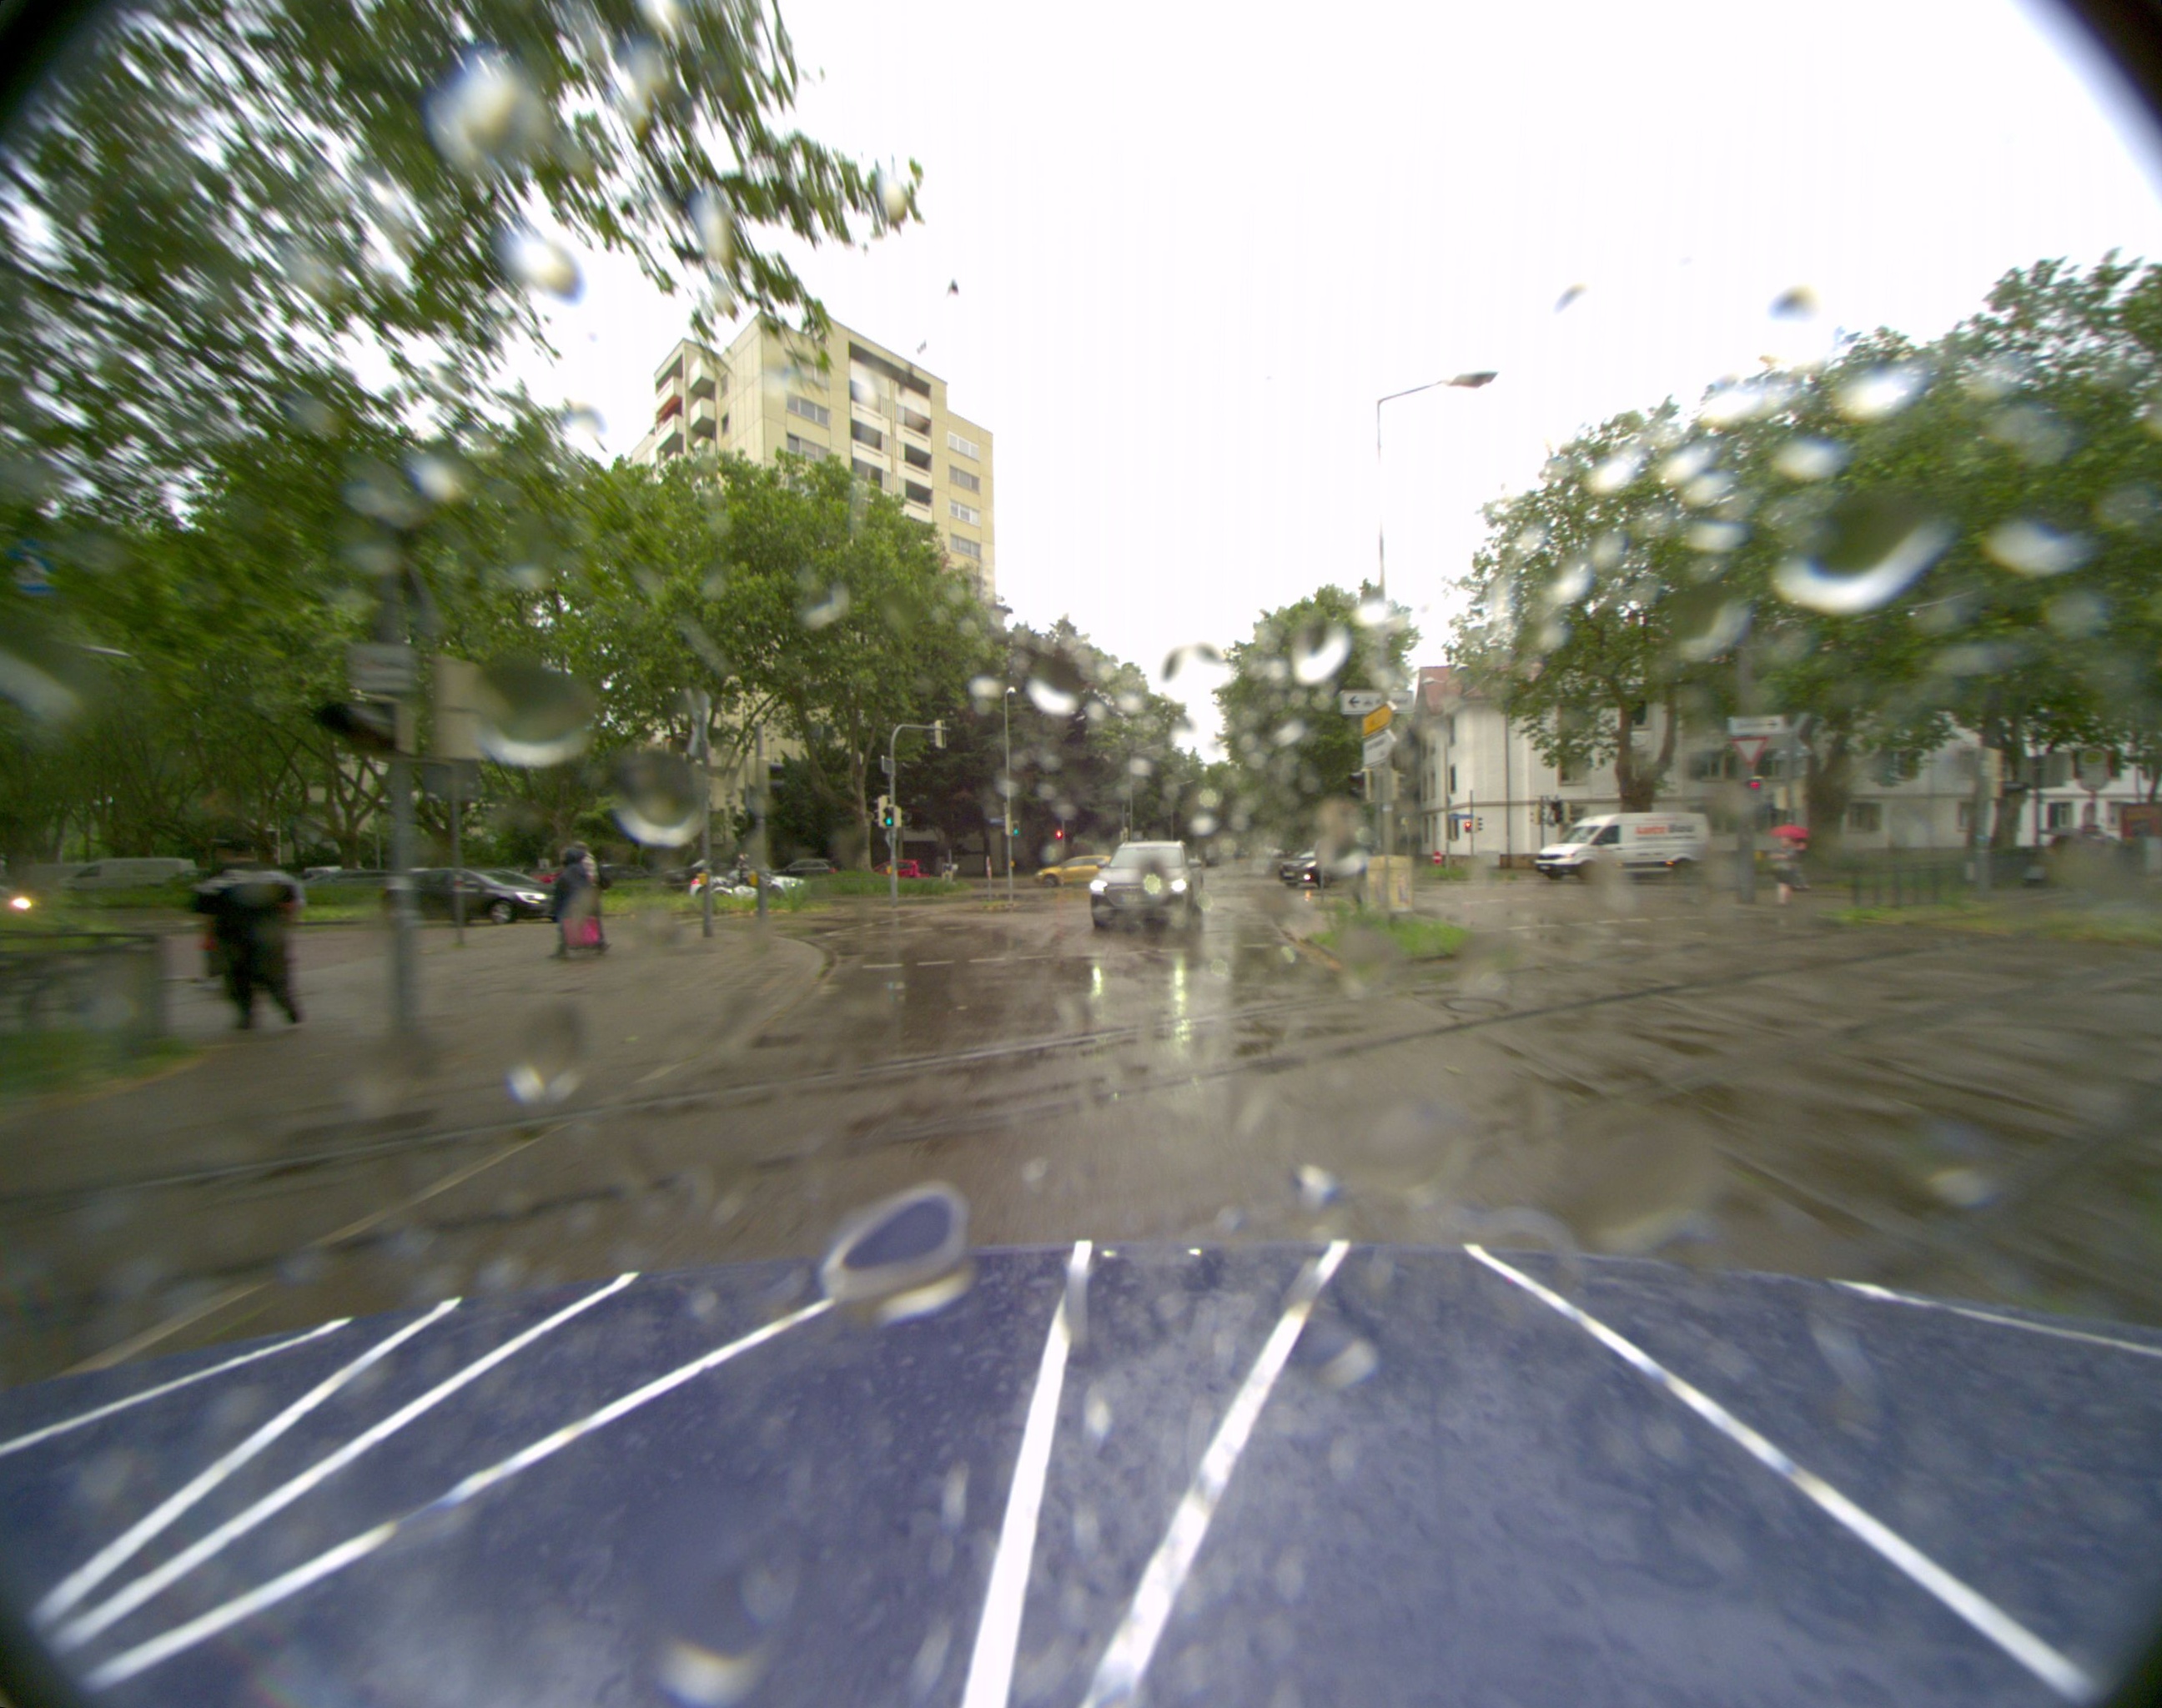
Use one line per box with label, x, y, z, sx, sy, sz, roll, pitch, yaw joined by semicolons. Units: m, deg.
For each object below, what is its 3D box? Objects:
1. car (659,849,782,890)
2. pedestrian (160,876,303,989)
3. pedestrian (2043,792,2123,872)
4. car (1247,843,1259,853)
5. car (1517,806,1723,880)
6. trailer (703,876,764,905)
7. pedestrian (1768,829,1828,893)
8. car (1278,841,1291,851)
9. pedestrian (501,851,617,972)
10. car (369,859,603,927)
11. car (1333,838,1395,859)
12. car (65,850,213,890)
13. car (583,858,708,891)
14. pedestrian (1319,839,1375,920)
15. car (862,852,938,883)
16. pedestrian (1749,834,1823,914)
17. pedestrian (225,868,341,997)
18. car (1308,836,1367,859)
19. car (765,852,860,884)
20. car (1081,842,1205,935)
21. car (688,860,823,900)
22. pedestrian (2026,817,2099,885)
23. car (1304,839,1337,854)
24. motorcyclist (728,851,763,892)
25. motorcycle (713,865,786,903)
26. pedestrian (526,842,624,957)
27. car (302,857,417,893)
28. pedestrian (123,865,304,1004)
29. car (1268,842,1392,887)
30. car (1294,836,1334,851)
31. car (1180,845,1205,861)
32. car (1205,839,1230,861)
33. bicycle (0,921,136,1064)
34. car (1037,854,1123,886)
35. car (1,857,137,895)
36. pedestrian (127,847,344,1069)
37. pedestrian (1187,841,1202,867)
car;-16.095;0.666;34.183;1.870;1.654;4.612;-1;1;36
pedestrian;-10.961;0.985;9.840;1.010;1.373;0.673;-1;1;-8
pedestrian;23.504;-0.501;17.832;0.849;1.821;0.859;0;1;-16
car;32.562;-1.075;144.160;1.997;1.796;4.353;-2;0;10
car;20.649;-0.436;29.245;6.509;2.547;2.283;-2;1;-5
trailer;-11.301;1.183;24.744;1.480;0.837;1.028;-2;1;8
pedestrian;19.389;0.188;20.571;0.861;1.678;0.848;-1;1;-14
car;38.374;-1.531;143.454;1.997;1.796;4.002;-2;0;9
pedestrian;-7.726;0.803;11.277;1.053;1.677;0.998;0;1;25
car;-14.378;0.921;18.525;4.173;1.452;1.995;-1;0;4
car;20.932;-0.418;56.263;3.994;1.346;1.798;-2;0;10
car;-61.862;1.005;50.086;5.613;2.387;2.229;-2;1;-28
car;-22.549;1.063;39.436;5.522;1.509;2.260;-2;1;13
pedestrian;5.243;0.491;15.005;0.863;1.572;0.642;-1;1;-4
car;-9.696;0.702;40.806;3.456;1.516;1.843;-2;1;9
pedestrian;15.354;0.422;16.557;0.849;1.678;0.859;-1;1;-16
pedestrian;-10.095;0.956;9.645;0.762;1.539;0.691;-1;1;-21
car;22.059;-0.574;65.452;4.663;1.863;2.035;0;1;14
car;-14.681;0.758;41.636;4.448;1.598;1.942;-2;1;12
car;1.405;0.583;15.436;1.807;1.612;4.141;-1;1;14
car;-12.104;0.942;28.414;4.168;1.268;1.903;-2;1;2
pedestrian;24.638;-0.083;19.090;0.849;1.678;0.859;-1;1;-16
car;29.299;-0.920;93.118;3.716;1.681;1.940;0;1;14
motorcyclist;-11.352;0.570;25.707;0.754;1.343;0.758;-2;1;7
motorcycle;-11.200;1.000;25.702;2.072;1.208;0.881;-2;1;7
pedestrian;-8.136;0.708;12.244;0.992;1.771;0.813;0;1;14
car;-37.609;1.079;39.678;1.994;1.645;4.008;-1;1;37
pedestrian;-10.249;0.914;9.033;1.065;1.517;0.878;-1;1;-9
car;8.734;0.328;26.619;4.006;1.435;1.850;-1;1;-28
car;31.246;-1.376;102.031;5.080;2.012;2.035;0;1;14
car;10.767;-0.111;73.294;1.819;1.451;4.277;-2;0;15
car;15.953;-0.498;88.517;2.398;2.461;5.698;0;1;15
bicycle;-8.926;1.139;6.166;1.619;1.070;0.446;-2;1;-12
car;-0.029;0.739;36.431;3.997;1.360;2.000;-2;1;1
car;-79.025;1.666;59.480;5.981;2.634;1.995;-2;1;-31
pedestrian;-7.614;0.846;6.861;1.233;1.778;1.040;-1;1;31
pedestrian;8.903;0.006;59.643;0.942;2.050;1.082;0;1;17
